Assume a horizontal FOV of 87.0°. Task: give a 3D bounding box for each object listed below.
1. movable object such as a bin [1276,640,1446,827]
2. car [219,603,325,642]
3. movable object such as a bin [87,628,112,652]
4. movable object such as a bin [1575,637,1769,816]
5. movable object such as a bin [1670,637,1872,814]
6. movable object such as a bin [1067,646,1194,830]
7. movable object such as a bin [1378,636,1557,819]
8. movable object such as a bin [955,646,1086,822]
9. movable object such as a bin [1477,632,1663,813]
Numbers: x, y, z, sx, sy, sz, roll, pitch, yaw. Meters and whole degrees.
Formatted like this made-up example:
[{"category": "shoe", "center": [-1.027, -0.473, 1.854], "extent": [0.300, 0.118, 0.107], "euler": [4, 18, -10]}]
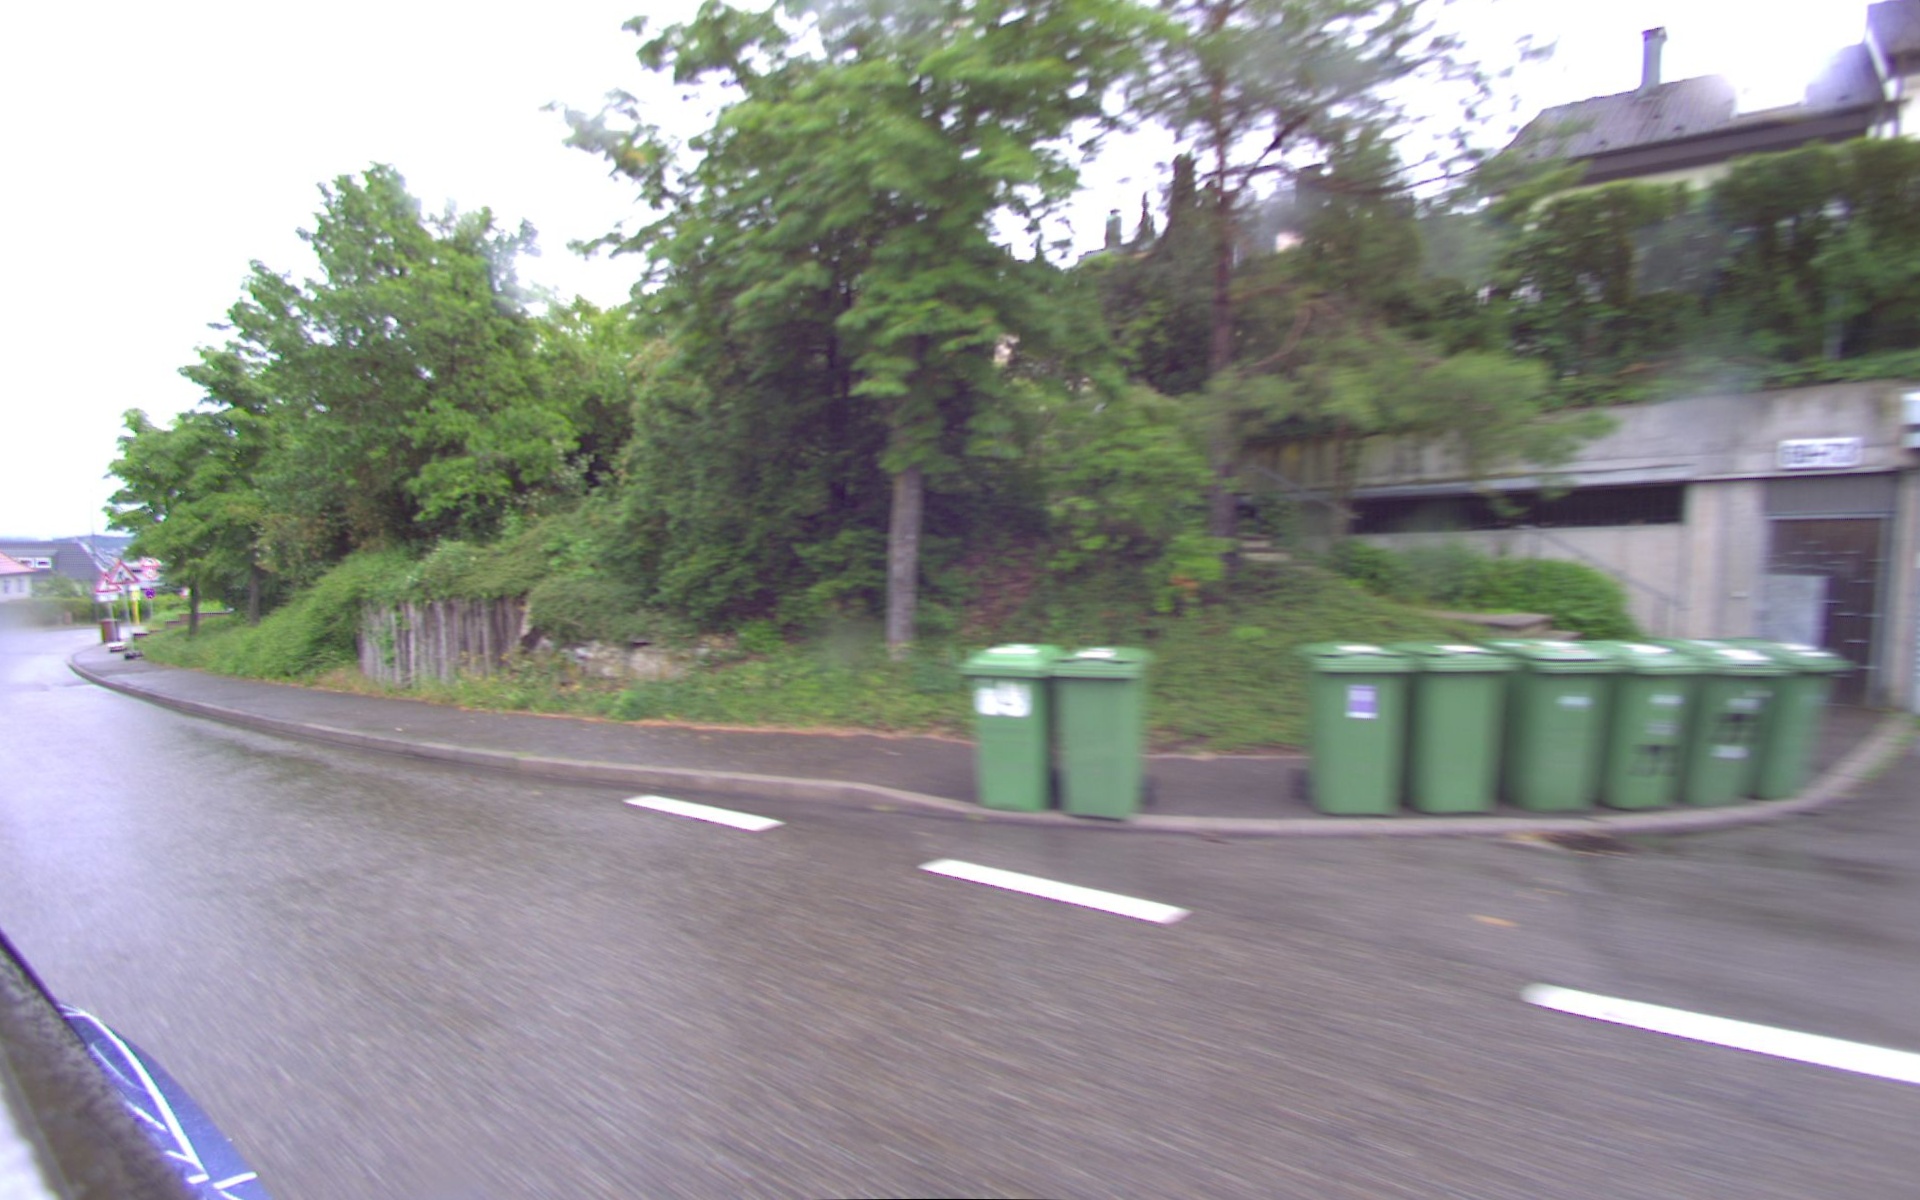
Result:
[{"category": "movable object such as a bin", "center": [2.552, 0.821, 6.509], "extent": [0.708, 1.035, 0.781], "euler": [-2, 2, -7]}, {"category": "car", "center": [-33.976, 1.085, 50.035], "extent": [1.962, 1.777, 3.946], "euler": [-1, 0, 40]}, {"category": "movable object such as a bin", "center": [-39.564, 1.824, 46.537], "extent": [0.868, 1.038, 0.804], "euler": [-1, -1, -41]}, {"category": "movable object such as a bin", "center": [4.732, 0.807, 6.767], "extent": [0.708, 1.035, 0.781], "euler": [-2, 2, -7]}, {"category": "movable object such as a bin", "center": [5.450, 0.811, 6.842], "extent": [0.708, 1.035, 0.781], "euler": [-2, 2, -7]}, {"category": "movable object such as a bin", "center": [1.120, 0.854, 6.541], "extent": [0.713, 1.035, 0.776], "euler": [-1, 3, 15]}, {"category": "movable object such as a bin", "center": [3.281, 0.794, 6.598], "extent": [0.708, 1.035, 0.781], "euler": [-2, 2, -7]}, {"category": "movable object such as a bin", "center": [0.427, 0.863, 6.792], "extent": [0.713, 1.035, 0.776], "euler": [-1, 2, 15]}, {"category": "movable object such as a bin", "center": [3.999, 0.772, 6.681], "extent": [0.708, 1.035, 0.781], "euler": [-2, 2, -7]}]
